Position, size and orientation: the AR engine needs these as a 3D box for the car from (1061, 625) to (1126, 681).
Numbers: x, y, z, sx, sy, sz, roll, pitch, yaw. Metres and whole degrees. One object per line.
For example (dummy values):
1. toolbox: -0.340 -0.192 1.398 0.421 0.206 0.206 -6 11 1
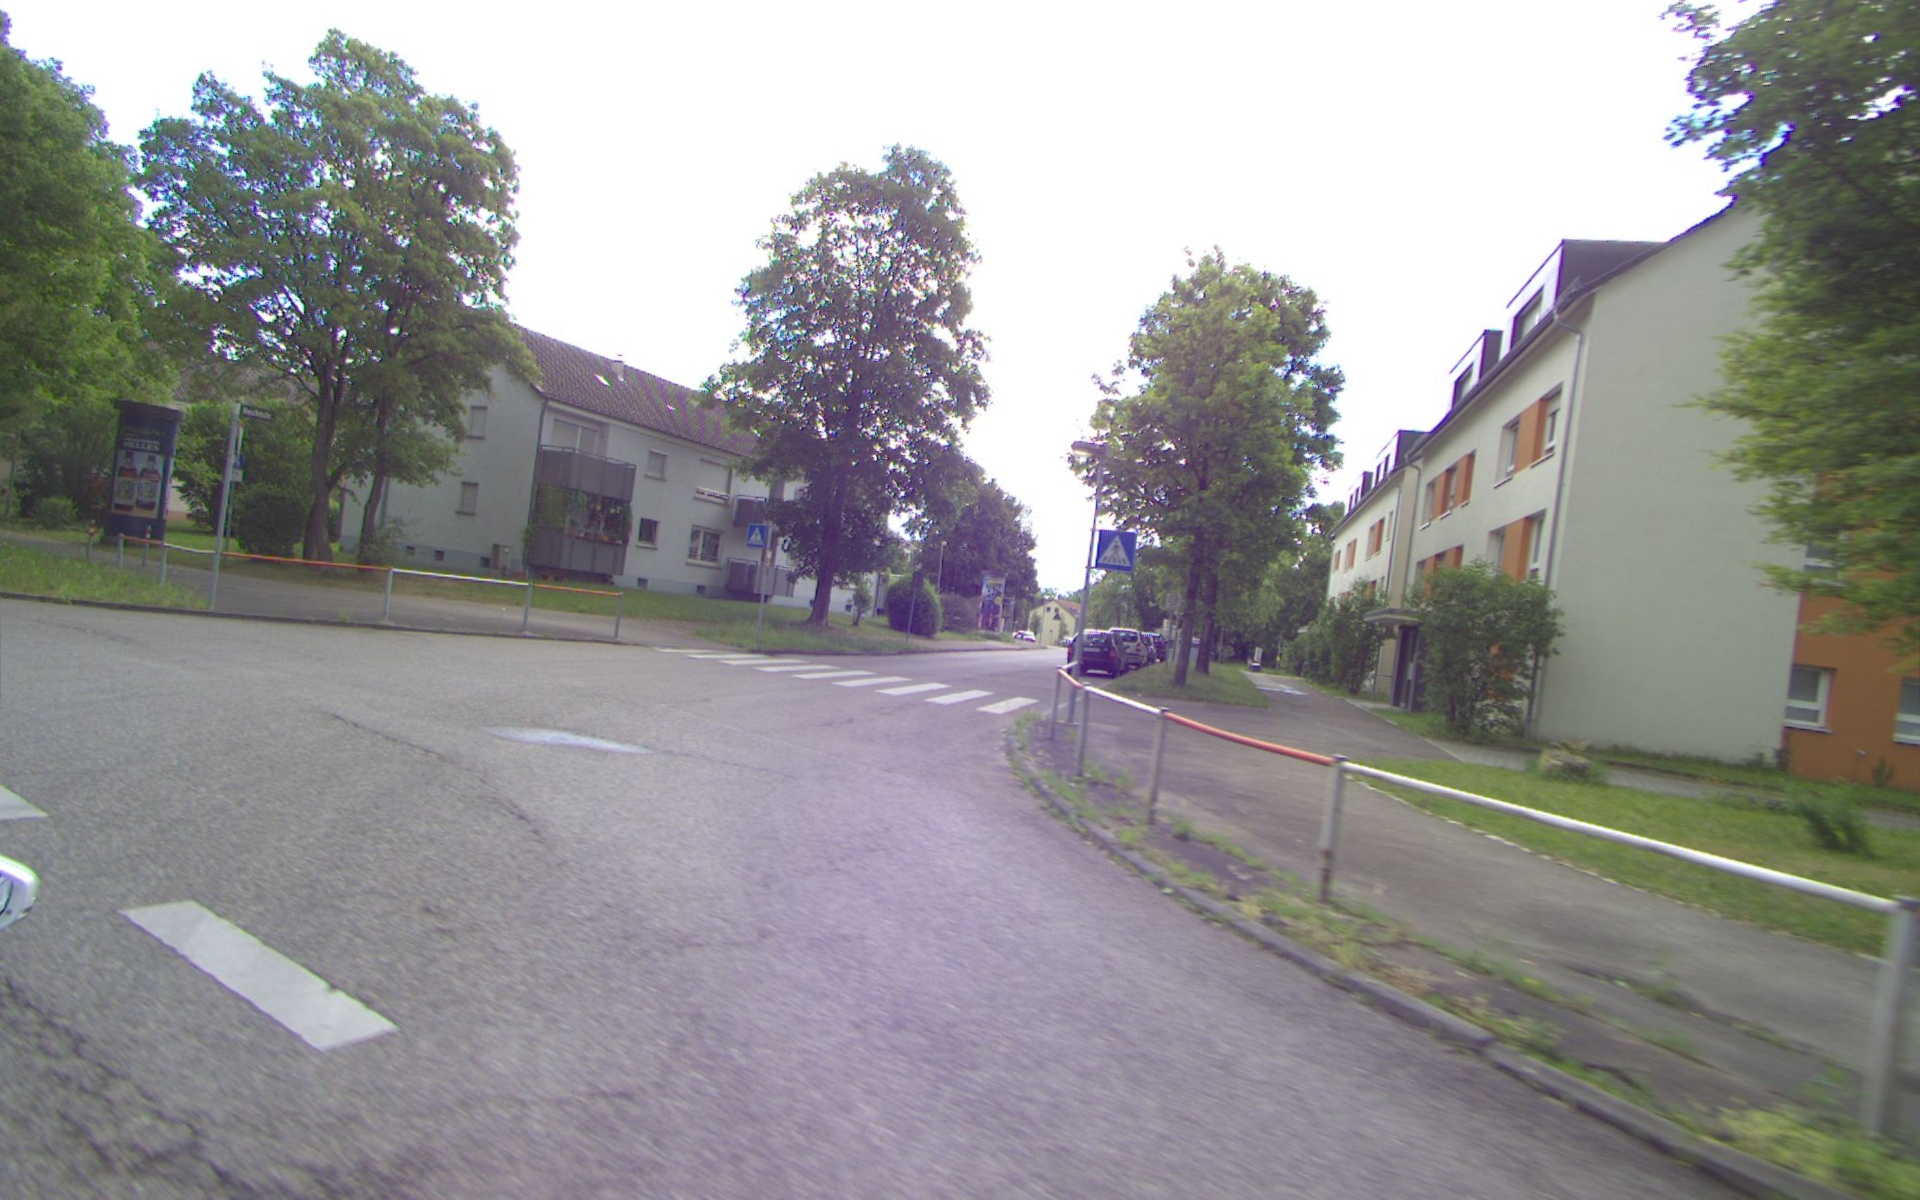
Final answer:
1. car: 4.329 1.667 32.167 1.606 1.482 3.776 7 -1 12

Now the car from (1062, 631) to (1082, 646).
1. car: 15.992 5.506 144.301 1.964 1.907 3.997 7 0 -4

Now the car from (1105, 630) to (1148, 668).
1. car: 7.957 2.300 47.780 1.757 1.532 3.961 7 -1 11

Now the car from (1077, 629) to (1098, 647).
1. car: 15.923 4.804 126.123 1.963 1.907 4.000 7 0 1

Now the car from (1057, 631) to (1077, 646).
1. car: 15.784 5.692 148.982 1.965 1.907 3.997 7 0 -5

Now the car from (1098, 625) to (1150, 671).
1. car: 6.830 1.971 41.558 1.757 1.593 4.003 7 -1 12

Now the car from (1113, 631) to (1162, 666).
1. car: 9.409 2.558 53.230 2.084 1.532 3.961 7 -1 15

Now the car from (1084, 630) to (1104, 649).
1. car: 15.936 4.674 119.478 1.962 1.907 4.001 7 0 5

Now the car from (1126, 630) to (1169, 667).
1. car: 11.073 2.848 59.094 1.989 1.808 4.327 7 -1 15
